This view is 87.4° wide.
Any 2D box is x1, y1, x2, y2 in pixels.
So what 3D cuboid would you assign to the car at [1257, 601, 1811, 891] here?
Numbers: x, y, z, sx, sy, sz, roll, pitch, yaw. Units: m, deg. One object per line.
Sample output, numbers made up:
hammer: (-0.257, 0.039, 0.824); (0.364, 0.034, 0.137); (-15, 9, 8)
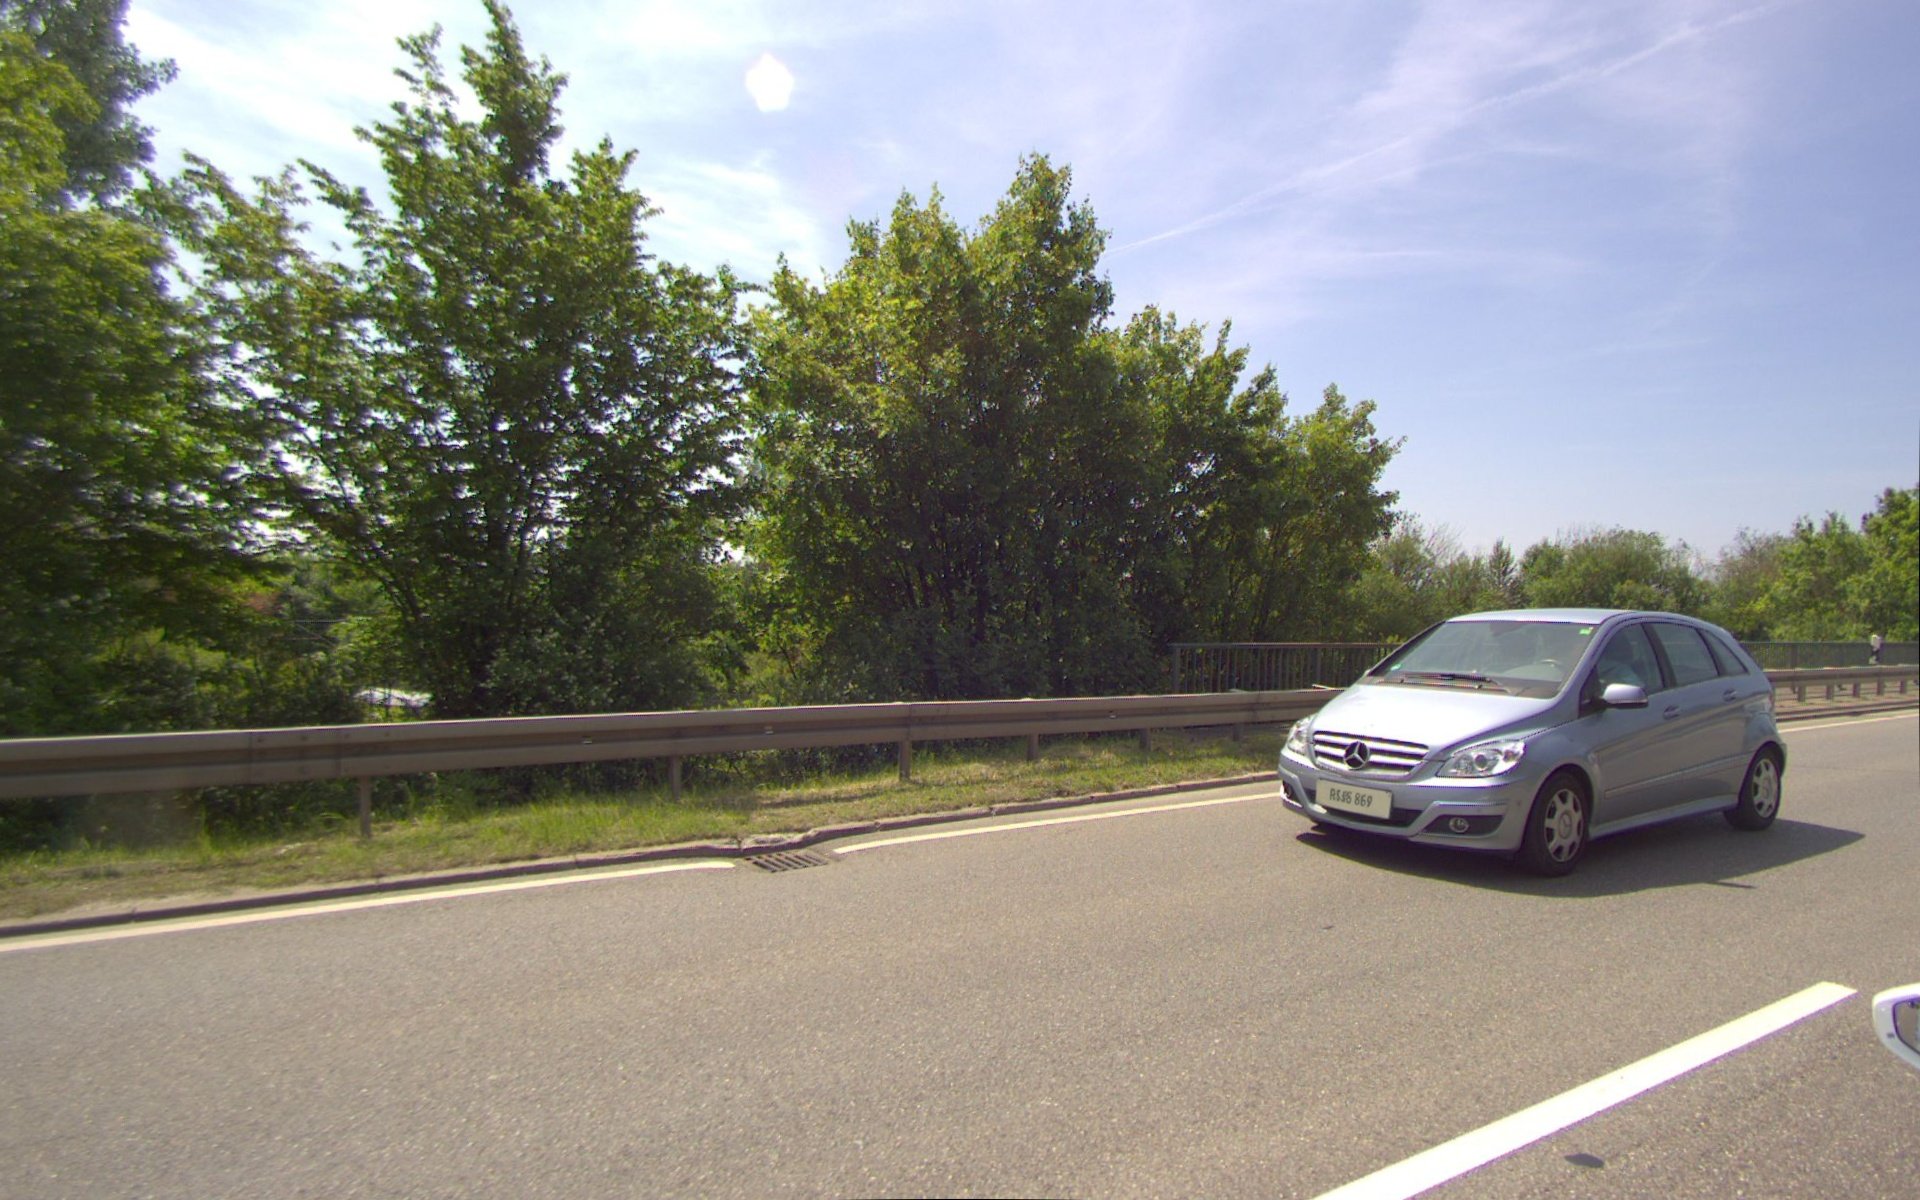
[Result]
car: (4.281, 0.835, 7.288); (4.288, 1.572, 1.651); (1, -1, -32)
